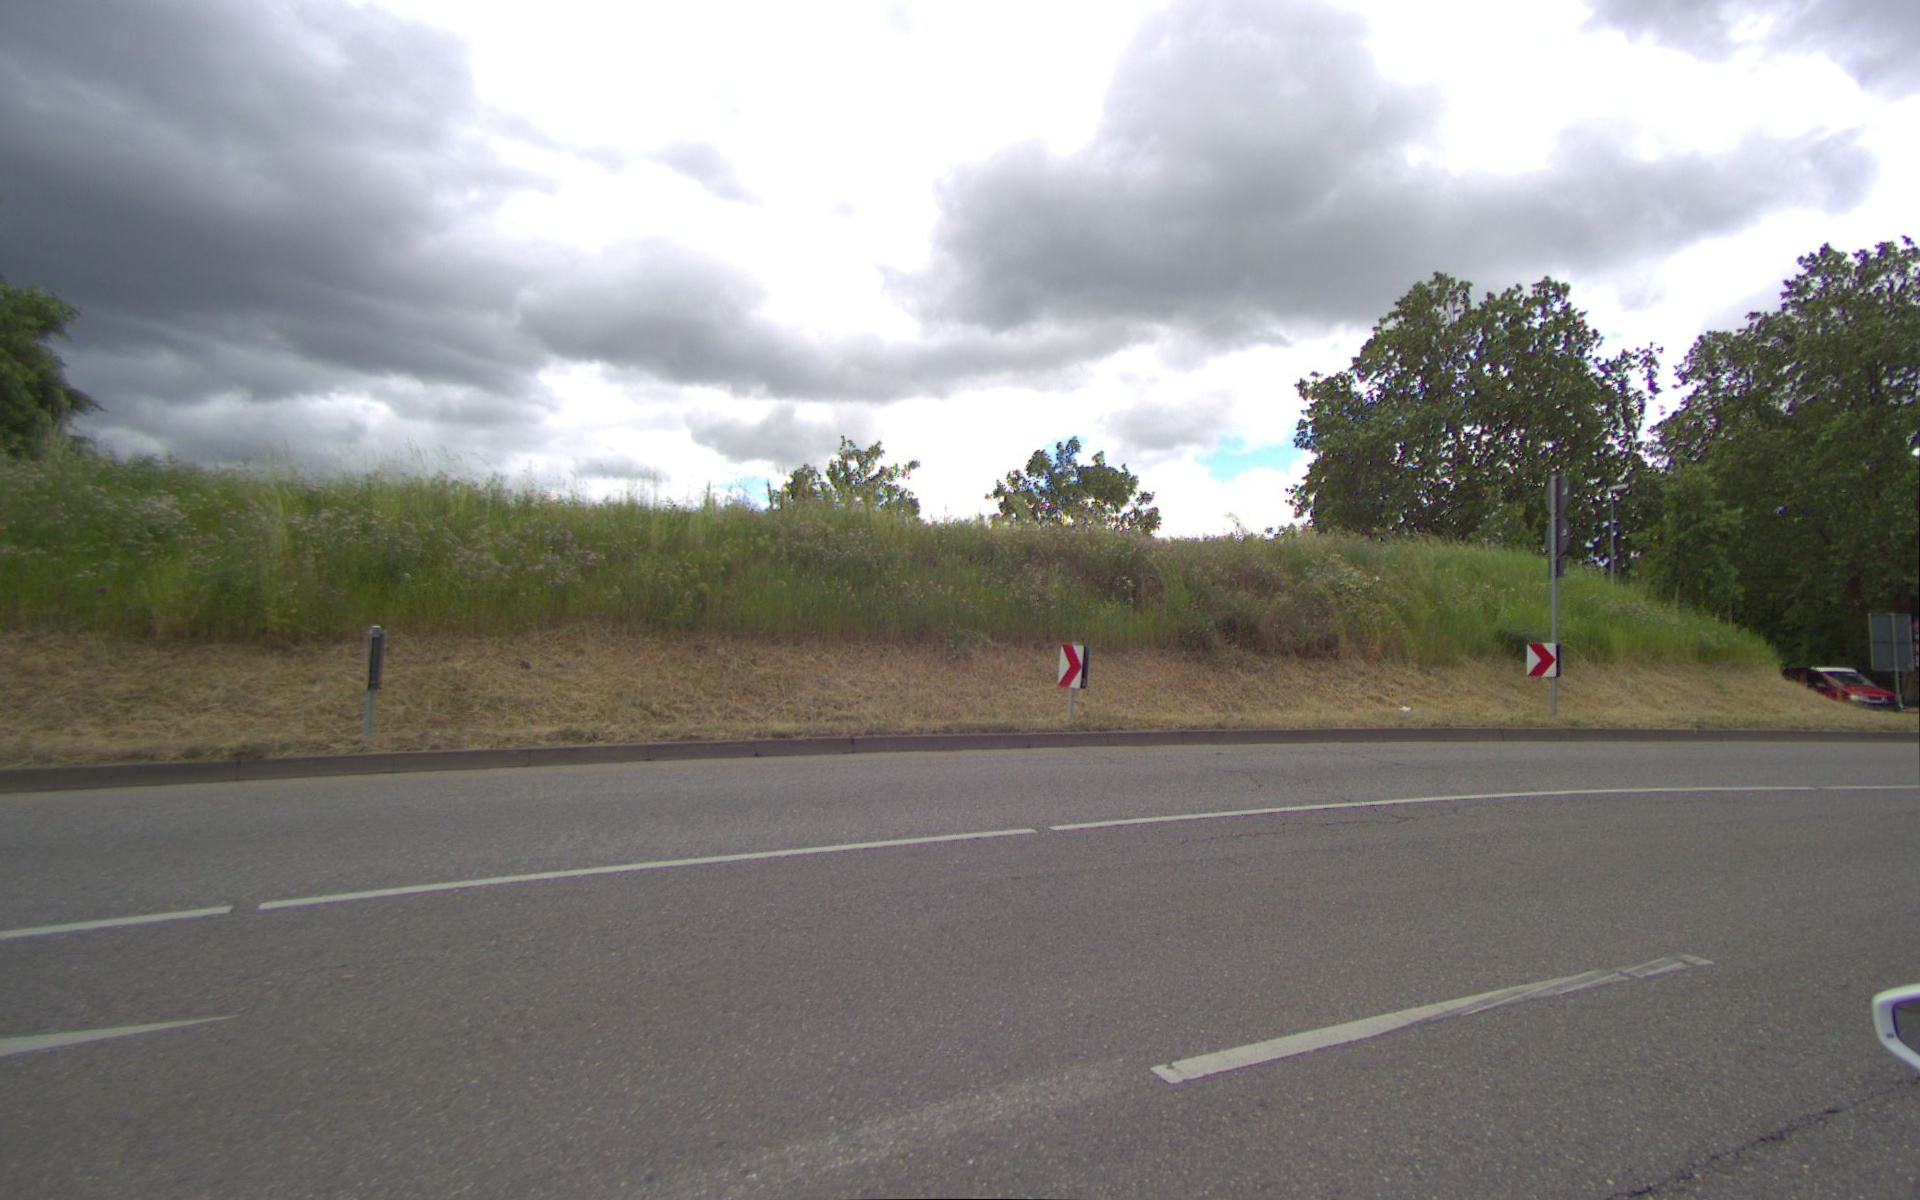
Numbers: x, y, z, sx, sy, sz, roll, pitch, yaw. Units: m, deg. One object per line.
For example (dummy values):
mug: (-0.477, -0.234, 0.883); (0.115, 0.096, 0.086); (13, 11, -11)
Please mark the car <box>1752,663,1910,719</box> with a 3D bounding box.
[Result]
car: (30.594, 3.187, 35.463); (1.820, 1.836, 4.038); (2, -4, -5)
